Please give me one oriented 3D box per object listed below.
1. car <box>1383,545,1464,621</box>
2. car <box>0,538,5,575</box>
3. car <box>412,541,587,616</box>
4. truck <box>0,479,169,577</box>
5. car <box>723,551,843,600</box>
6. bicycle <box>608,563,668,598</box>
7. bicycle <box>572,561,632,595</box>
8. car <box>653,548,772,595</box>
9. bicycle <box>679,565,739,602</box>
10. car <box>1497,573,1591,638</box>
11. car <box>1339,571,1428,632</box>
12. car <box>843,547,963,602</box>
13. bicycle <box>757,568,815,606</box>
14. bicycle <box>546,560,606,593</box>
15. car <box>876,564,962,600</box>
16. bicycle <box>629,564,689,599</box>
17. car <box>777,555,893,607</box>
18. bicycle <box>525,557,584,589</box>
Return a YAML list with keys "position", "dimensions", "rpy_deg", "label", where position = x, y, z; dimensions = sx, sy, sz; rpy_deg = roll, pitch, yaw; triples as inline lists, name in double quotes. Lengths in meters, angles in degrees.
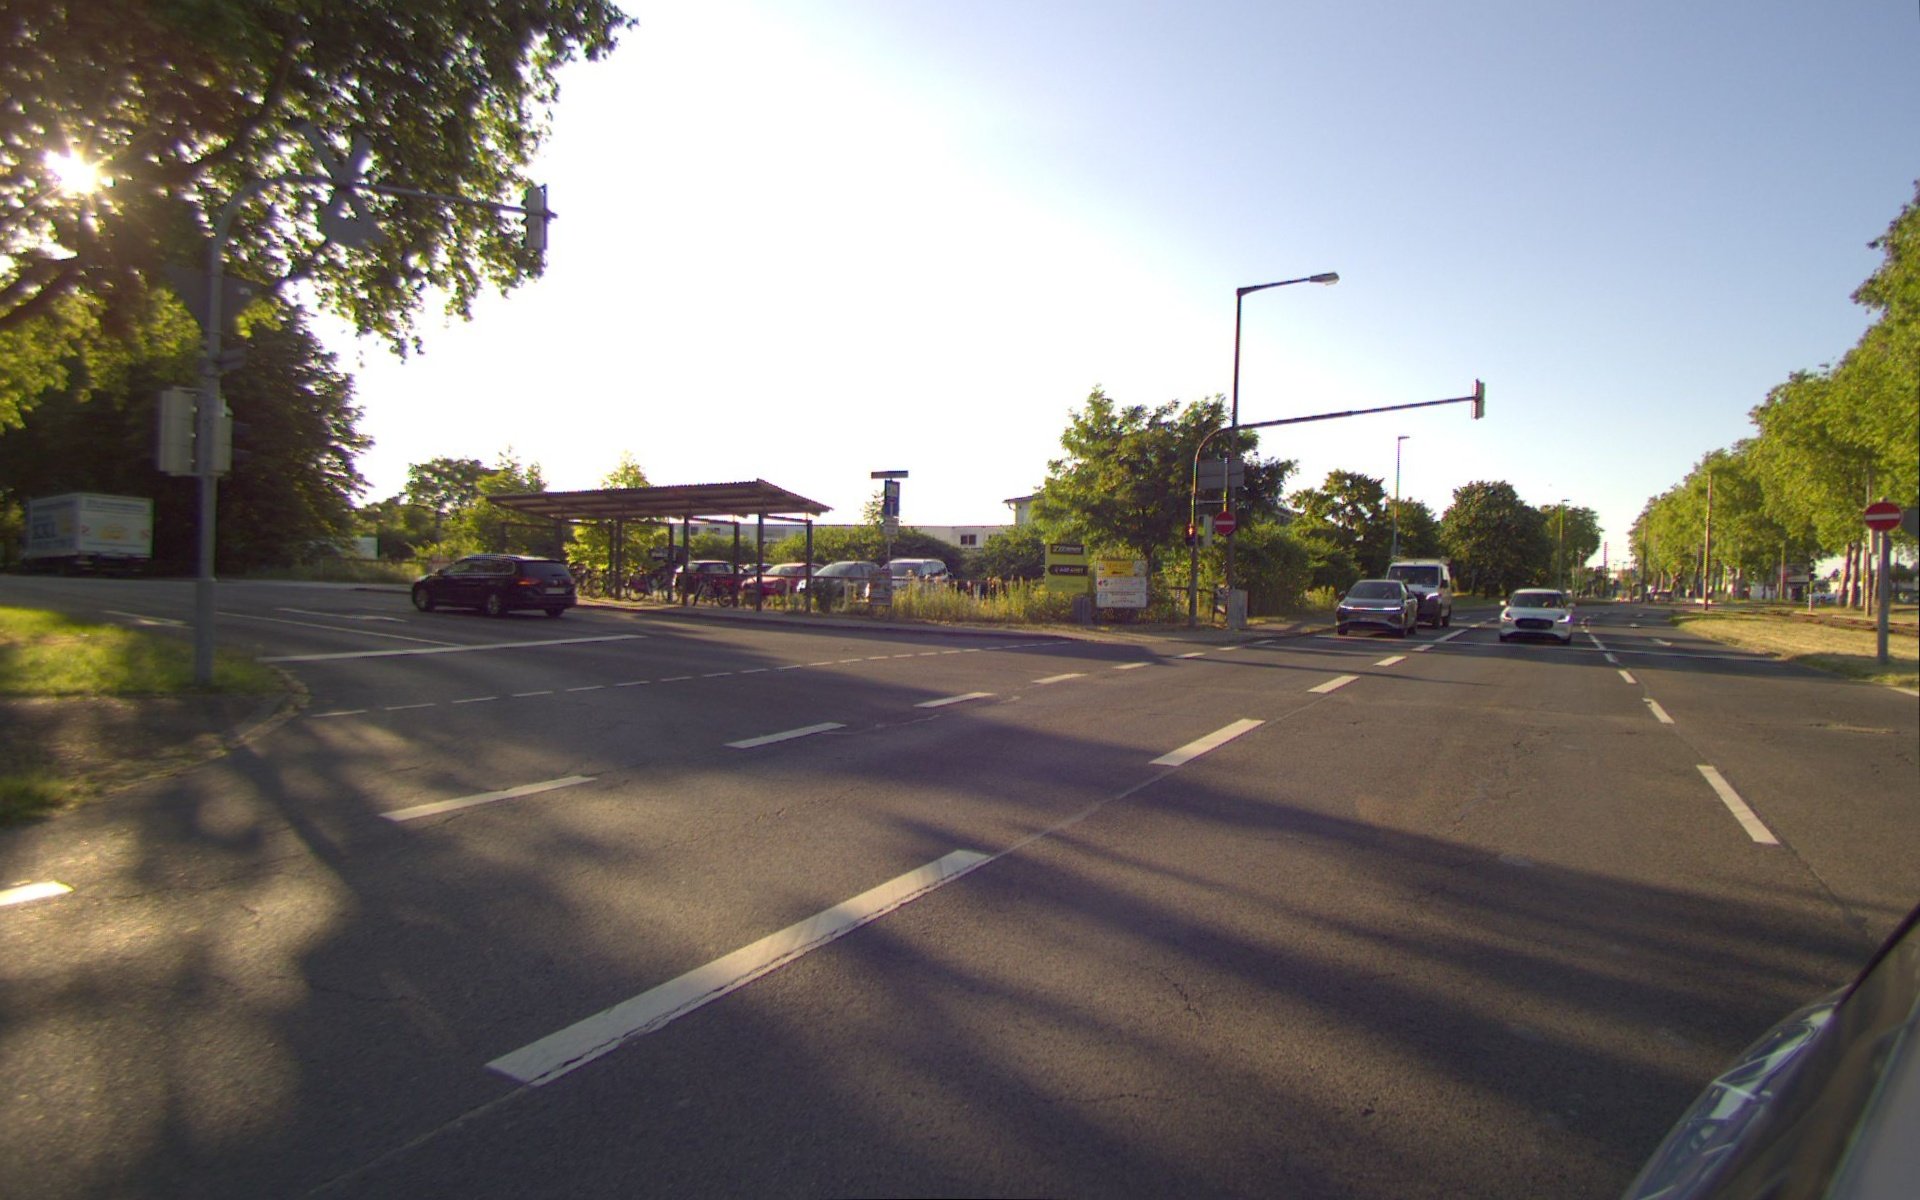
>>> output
- position: [17.482, -0.629, 37.978]
  dimensions: [1.995, 2.597, 5.809]
  rpy_deg: [3, 2, 32]
  label: "car"
- position: [-52.915, -2.413, 54.095]
  dimensions: [4.834, 1.931, 1.683]
  rpy_deg: [3, 1, 34]
  label: "car"
- position: [-11.042, -0.542, 24.187]
  dimensions: [4.228, 1.575, 1.809]
  rpy_deg: [3, 1, 33]
  label: "car"
- position: [-39.597, -3.223, 45.555]
  dimensions: [11.029, 3.924, 3.155]
  rpy_deg: [3, 1, 35]
  label: "truck"
- position: [-6.504, -0.895, 37.645]
  dimensions: [2.103, 1.669, 4.274]
  rpy_deg: [3, 2, 30]
  label: "car"
- position: [-10.135, -0.615, 31.935]
  dimensions: [0.540, 1.051, 1.872]
  rpy_deg: [2, 2, 32]
  label: "bicycle"
- position: [-11.623, -0.707, 32.905]
  dimensions: [0.541, 1.051, 1.869]
  rpy_deg: [3, 2, 36]
  label: "bicycle"
- position: [-9.570, -1.063, 39.447]
  dimensions: [2.103, 1.669, 4.274]
  rpy_deg: [3, 2, 30]
  label: "car"
- position: [-7.534, -0.500, 30.464]
  dimensions: [0.540, 1.051, 1.872]
  rpy_deg: [2, 2, 32]
  label: "bicycle"
- position: [16.601, 0.133, 28.662]
  dimensions: [1.865, 1.638, 3.948]
  rpy_deg: [3, 2, 36]
  label: "car"
- position: [12.851, 0.022, 30.568]
  dimensions: [1.861, 1.638, 4.498]
  rpy_deg: [3, 2, 31]
  label: "car"
- position: [-1.855, -0.840, 34.204]
  dimensions: [2.103, 1.669, 4.182]
  rpy_deg: [3, 2, 30]
  label: "car"
- position: [-5.047, -0.383, 29.432]
  dimensions: [0.540, 1.051, 1.872]
  rpy_deg: [2, 2, 32]
  label: "bicycle"
- position: [-12.737, -0.766, 33.638]
  dimensions: [0.541, 1.051, 1.869]
  rpy_deg: [3, 2, 36]
  label: "bicycle"
- position: [-1.994, -0.881, 50.181]
  dimensions: [2.112, 1.657, 3.941]
  rpy_deg: [3, 2, 40]
  label: "car"
- position: [-9.348, -0.567, 31.484]
  dimensions: [0.540, 1.051, 1.872]
  rpy_deg: [2, 2, 32]
  label: "bicycle"
- position: [-4.347, -0.664, 35.845]
  dimensions: [2.103, 1.669, 3.957]
  rpy_deg: [3, 2, 30]
  label: "car"
- position: [-13.871, -0.926, 34.633]
  dimensions: [0.541, 1.051, 1.869]
  rpy_deg: [3, 2, 36]
  label: "bicycle"
